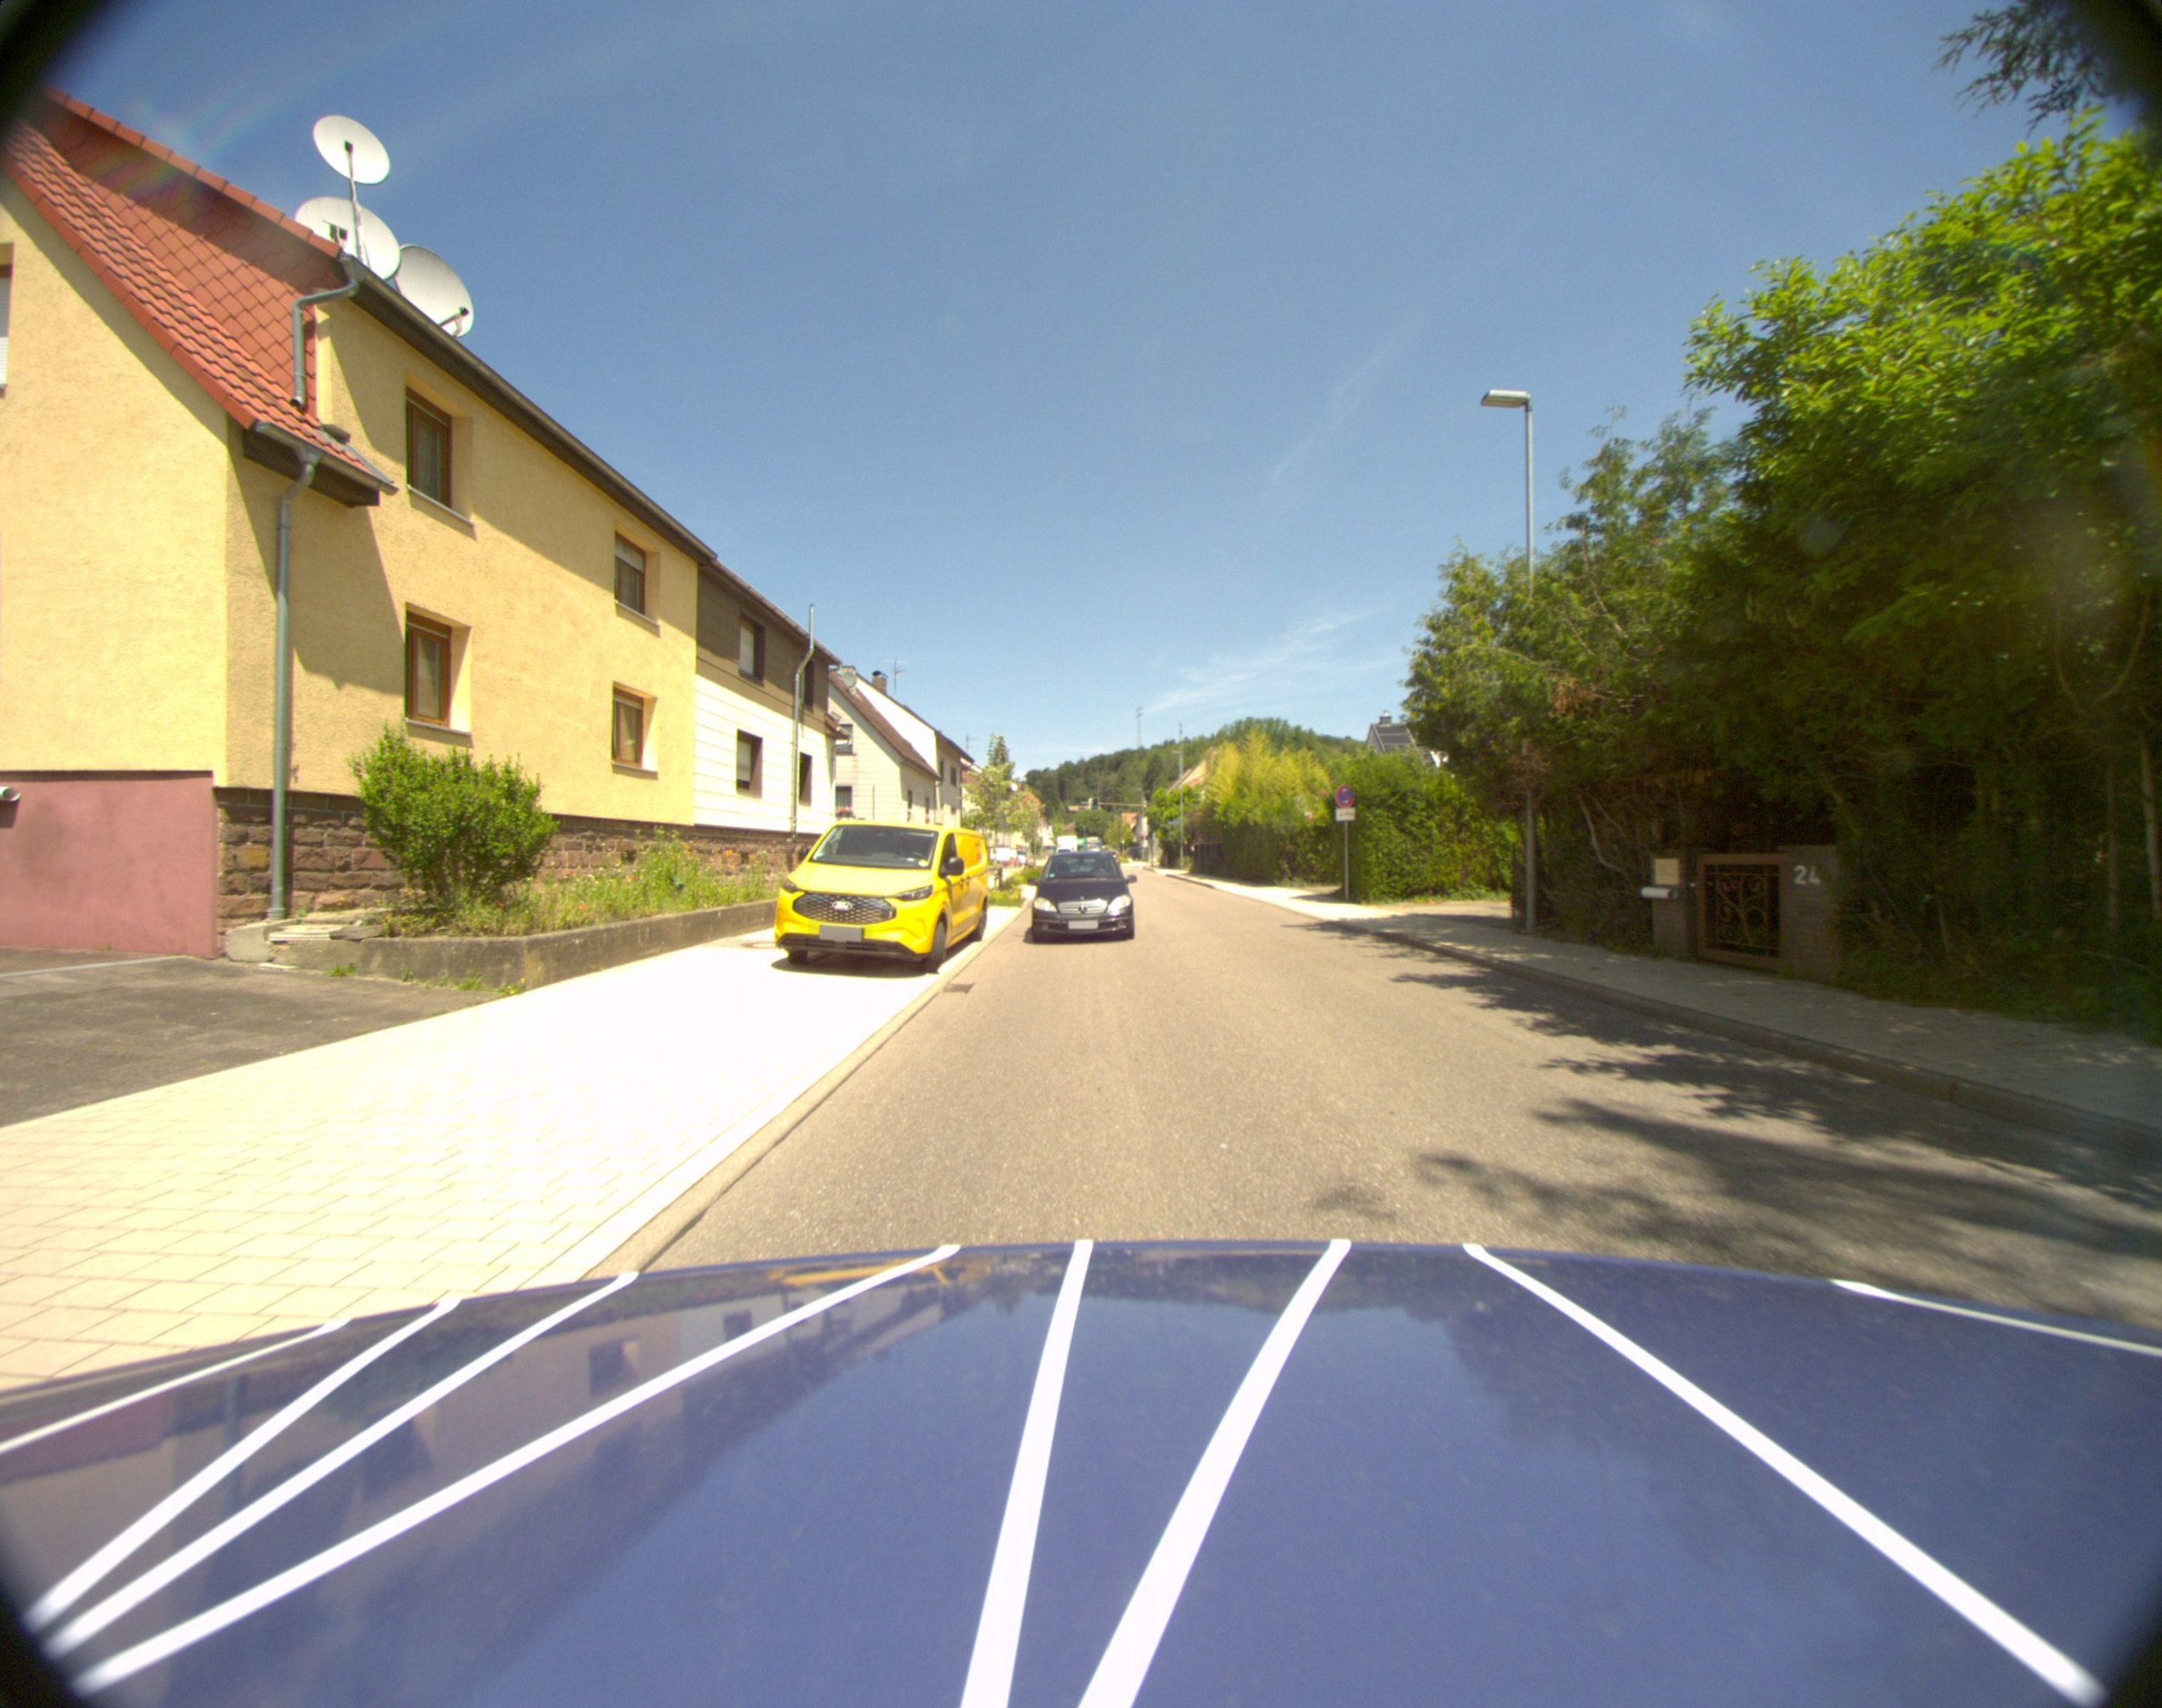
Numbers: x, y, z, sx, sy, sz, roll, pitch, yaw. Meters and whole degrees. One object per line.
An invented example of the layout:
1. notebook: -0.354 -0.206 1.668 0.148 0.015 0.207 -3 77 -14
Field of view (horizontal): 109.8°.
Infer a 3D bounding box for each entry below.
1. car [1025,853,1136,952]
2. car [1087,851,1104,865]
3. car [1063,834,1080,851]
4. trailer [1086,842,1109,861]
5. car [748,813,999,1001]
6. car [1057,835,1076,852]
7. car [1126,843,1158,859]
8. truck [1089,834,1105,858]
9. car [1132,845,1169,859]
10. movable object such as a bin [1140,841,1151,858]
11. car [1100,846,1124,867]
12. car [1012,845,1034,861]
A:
1. car: 0.056 0.790 14.935 1.767 1.572 4.931 -2 0 2
2. car: 1.733 0.502 89.496 1.771 1.395 4.245 -2 2 -2
3. car: -1.365 -1.625 105.875 1.986 2.170 4.000 -2 1 4
4. trailer: 1.806 -0.340 84.446 2.161 1.975 6.199 -2 1 -2
5. car: -2.659 0.544 11.431 2.195 2.002 5.621 4 1 -1
6. car: -1.603 -1.188 84.005 1.999 1.716 3.999 -2 1 -1
7. car: 7.444 -0.416 93.104 3.606 1.780 1.848 -2 2 -1
8. truck: 2.601 -1.320 122.586 2.548 3.716 8.621 0 1 2
9. car: 8.098 -0.200 88.895 4.040 1.491 1.707 -1 2 39
10. movable object such as a bin: 7.393 -0.525 87.204 1.062 2.002 1.322 -2 2 0
11. car: 2.608 0.180 64.407 1.872 1.643 3.948 -2 0 0
12. car: -6.236 -0.132 82.653 1.867 1.612 4.507 3 2 2
